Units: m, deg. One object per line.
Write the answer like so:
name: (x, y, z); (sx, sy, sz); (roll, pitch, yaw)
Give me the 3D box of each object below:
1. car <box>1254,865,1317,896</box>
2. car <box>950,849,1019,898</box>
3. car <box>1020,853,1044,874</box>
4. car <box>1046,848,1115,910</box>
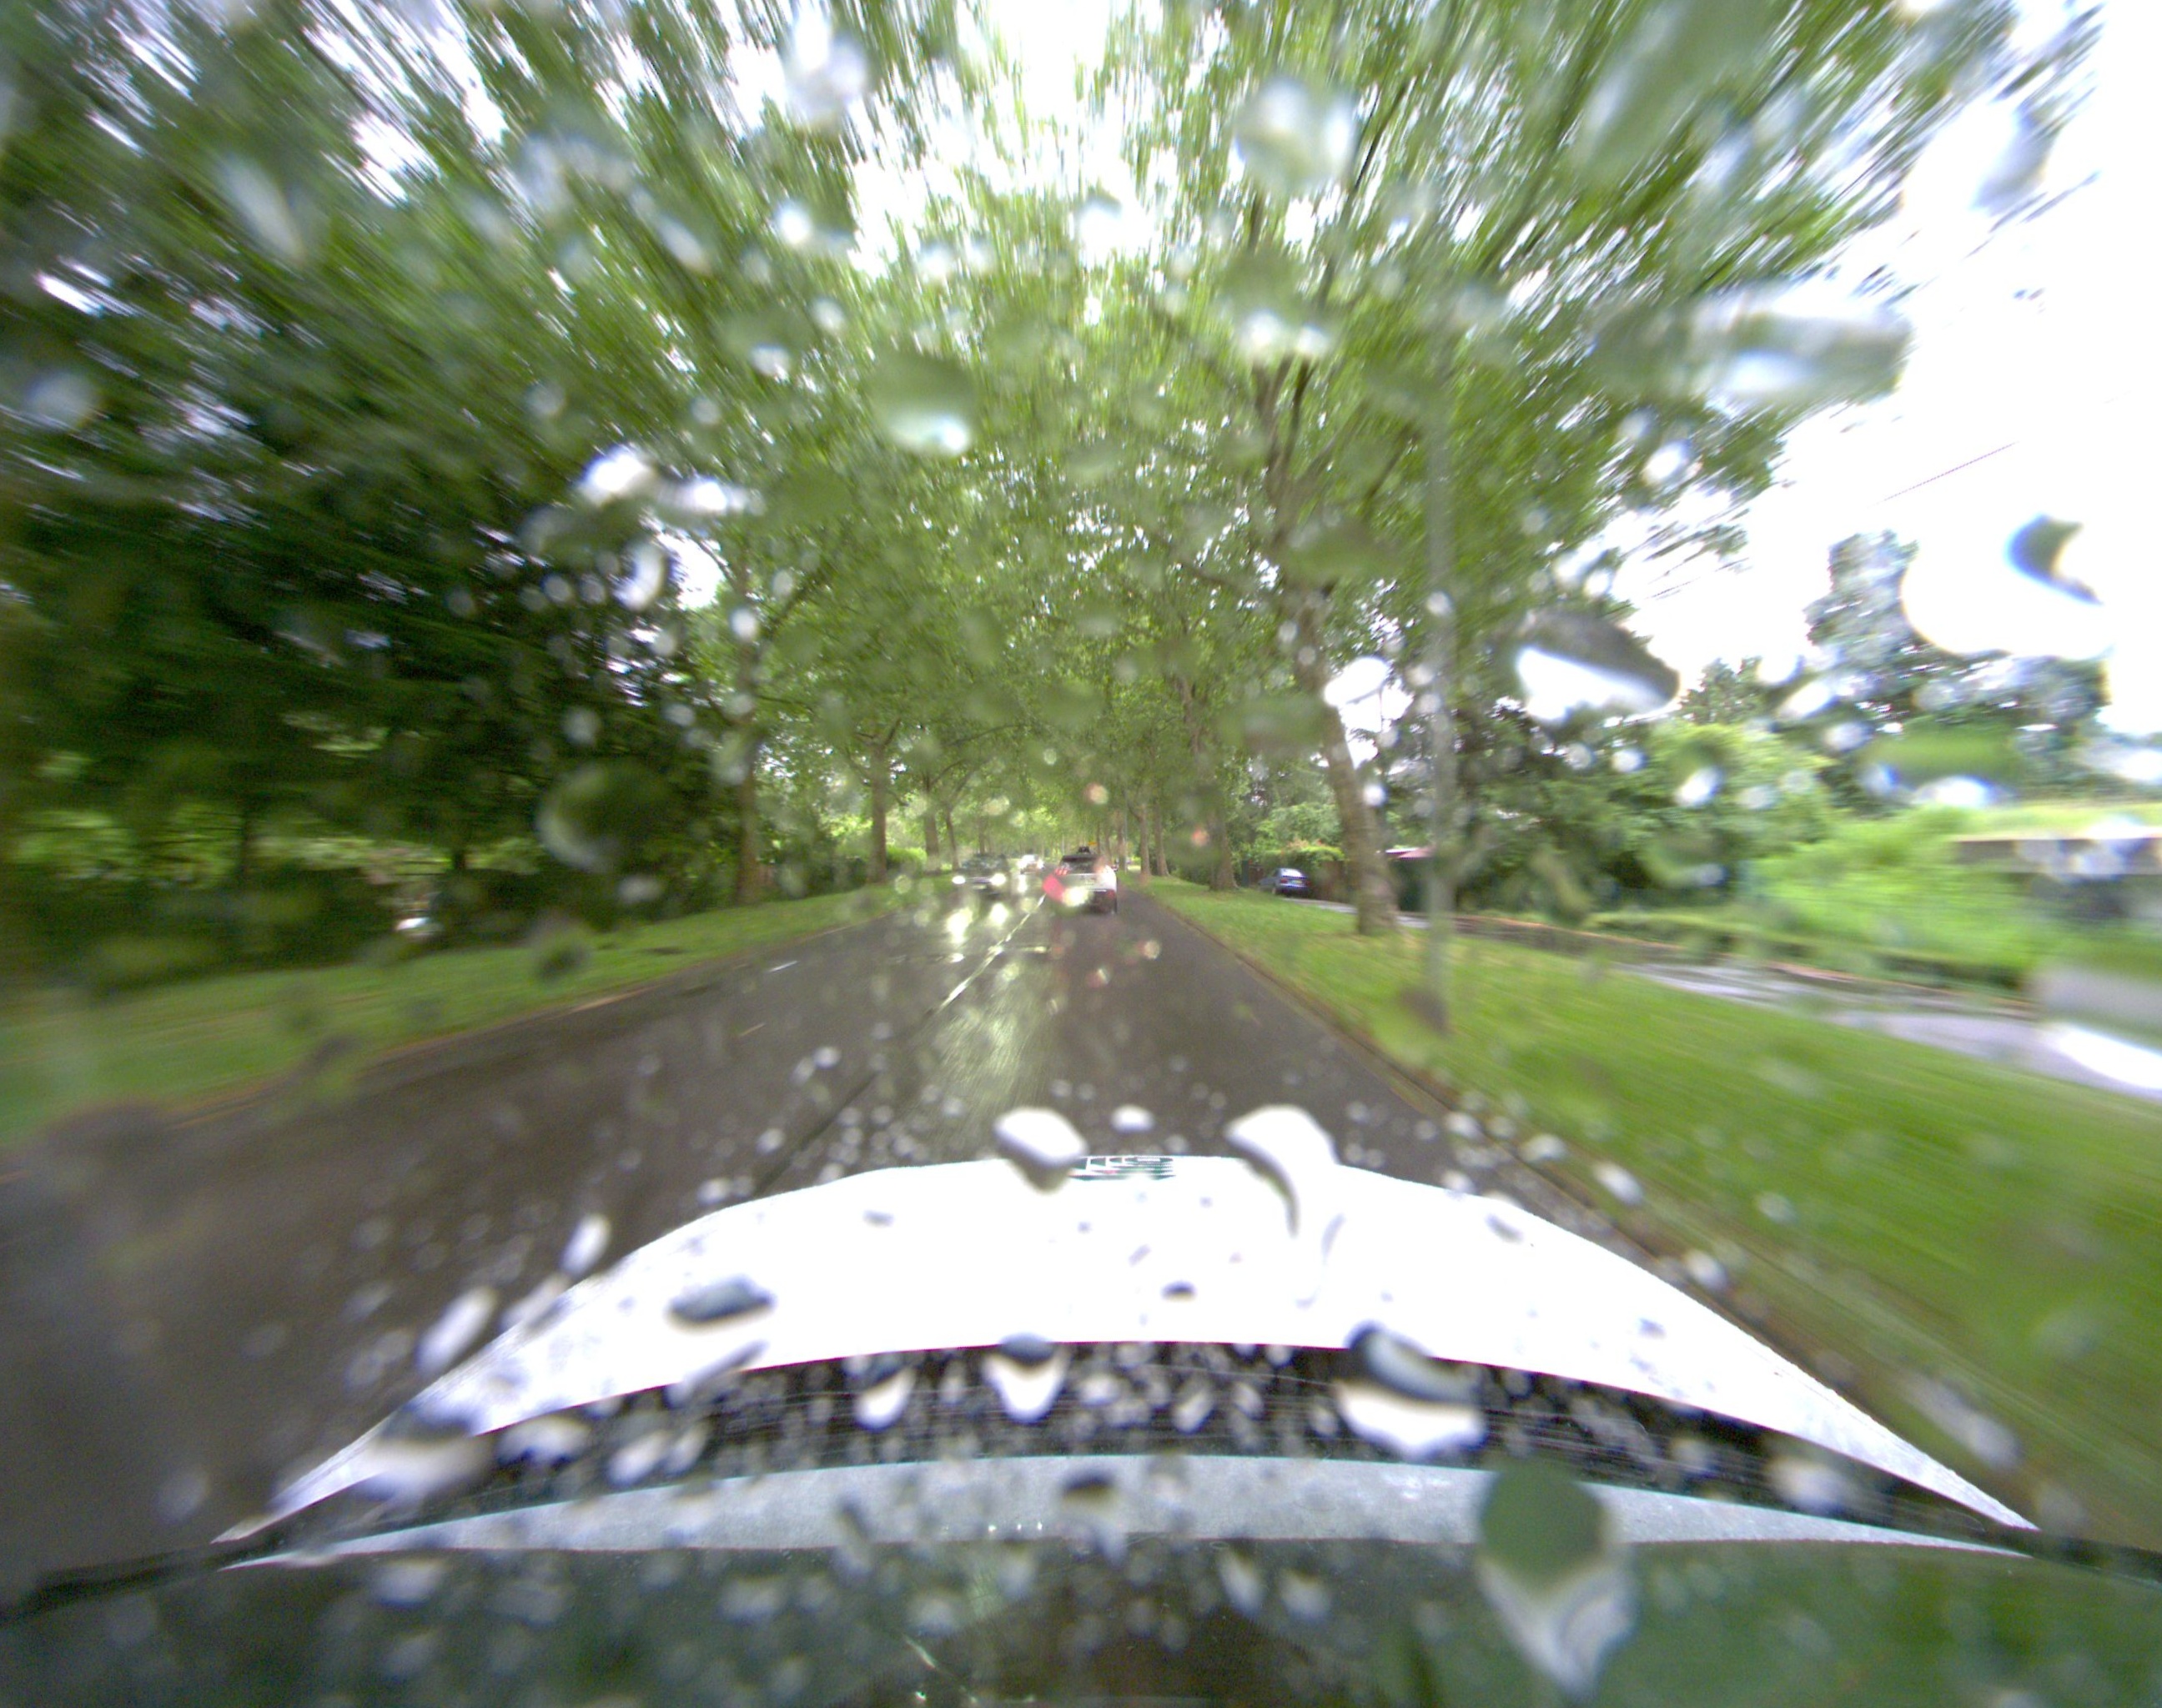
car: (9.995, 1.281, 40.140); (1.792, 1.325, 3.994); (4, -1, -4)
car: (-3.440, 0.657, 29.951); (1.811, 1.654, 4.775); (0, 0, 2)
car: (-4.109, 0.783, 69.020); (1.803, 1.728, 4.453); (0, 0, 0)
car: (0.053, 0.637, 22.780); (1.787, 1.578, 3.846); (0, 0, 2)
